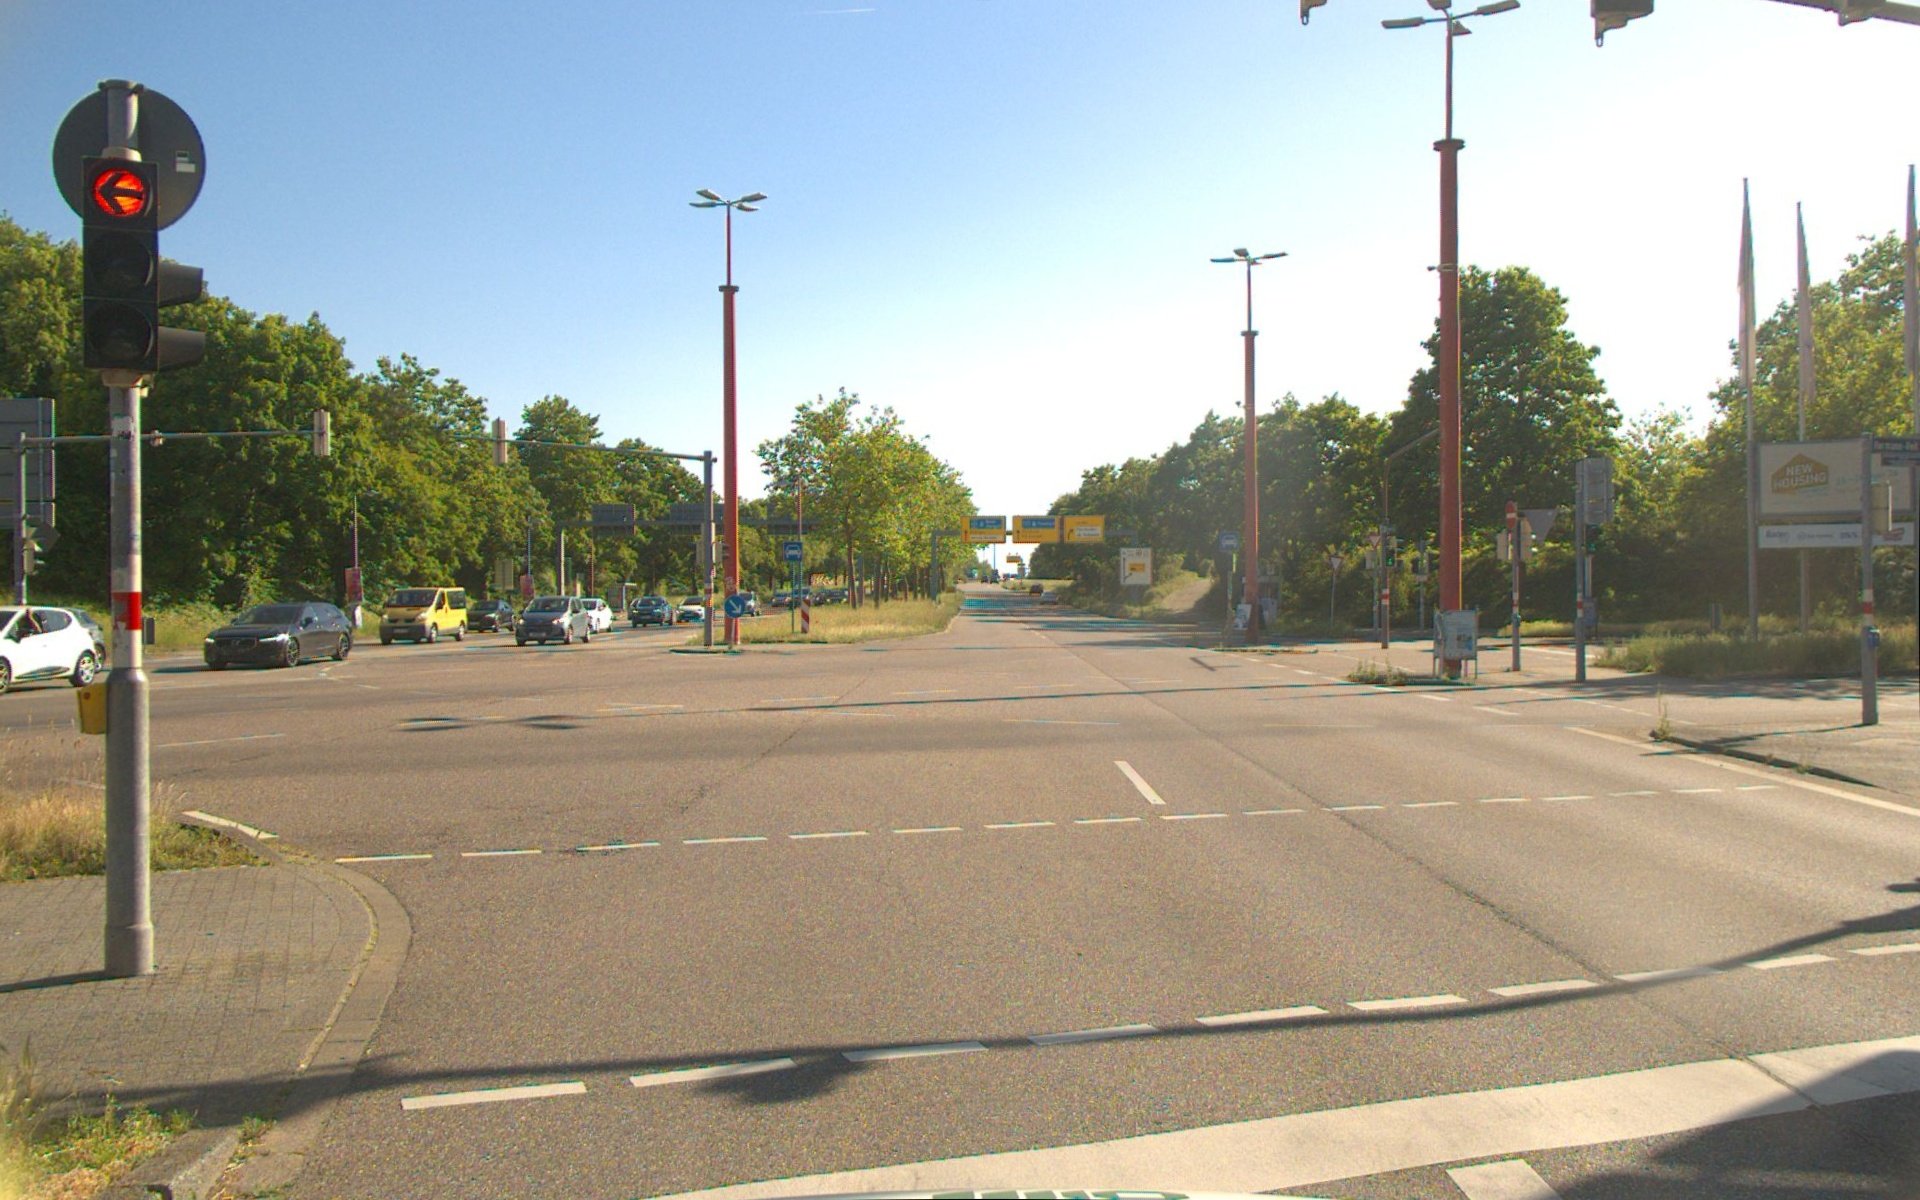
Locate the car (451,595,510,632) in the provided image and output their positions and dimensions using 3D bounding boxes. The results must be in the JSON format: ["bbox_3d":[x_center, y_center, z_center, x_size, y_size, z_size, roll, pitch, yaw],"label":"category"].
[{"bbox_3d":[-22.733,0.624,78.469,1.955,1.667,3.995,1,0,-6],"label":"car"}]

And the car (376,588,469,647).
[{"bbox_3d":[-19.378,0.607,59.865,1.721,2.022,4.789,1,0,1],"label":"car"}]

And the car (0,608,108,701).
[{"bbox_3d":[-16.318,0.898,28.105,1.572,1.485,3.951,0,0,1],"label":"car"}]

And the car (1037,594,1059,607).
[{"bbox_3d":[9.457,0.054,177.408,2.012,1.395,4.391,0,0,-1],"label":"car"}]

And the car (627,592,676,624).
[{"bbox_3d":[-15.649,0.405,83.974,1.668,1.586,3.804,1,0,1],"label":"car"}]

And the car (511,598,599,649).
[{"bbox_3d":[-12.674,0.716,51.932,1.666,1.446,4.000,3,0,1],"label":"car"}]

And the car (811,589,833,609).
[{"bbox_3d":[-13.736,-0.084,165.019,1.963,1.959,3.998,1,0,-2],"label":"car"}]

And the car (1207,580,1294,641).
[{"bbox_3d":[9.515,0.318,53.990,1.953,1.920,3.999,0,0,23],"label":"car"}]

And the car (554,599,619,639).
[{"bbox_3d":[-15.668,0.786,69.556,1.668,1.624,4.001,1,0,2],"label":"car"}]

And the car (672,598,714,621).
[{"bbox_3d":[-15.635,0.545,96.893,1.963,1.330,3.998,0,0,-2],"label":"car"}]

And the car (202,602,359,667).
[{"bbox_3d":[-15.705,0.758,38.488,1.595,1.392,4.797,0,0,1],"label":"car"}]

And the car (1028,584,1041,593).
[{"bbox_3d":[10.639,-1.628,236.378,1.702,1.365,3.082,0,0,1],"label":"car"}]

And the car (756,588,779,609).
[{"bbox_3d":[-19.158,-0.132,164.840,1.963,2.049,3.998,1,0,-2],"label":"car"}]

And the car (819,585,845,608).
[{"bbox_3d":[-10.077,-0.254,130.193,1.622,1.778,4.001,1,0,2],"label":"car"}]

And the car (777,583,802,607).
[{"bbox_3d":[-15.352,-0.424,148.698,1.963,2.049,3.998,1,0,-2],"label":"car"}]

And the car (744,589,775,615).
[{"bbox_3d":[-14.026,0.122,115.566,1.592,1.769,4.001,0,0,1],"label":"car"}]
